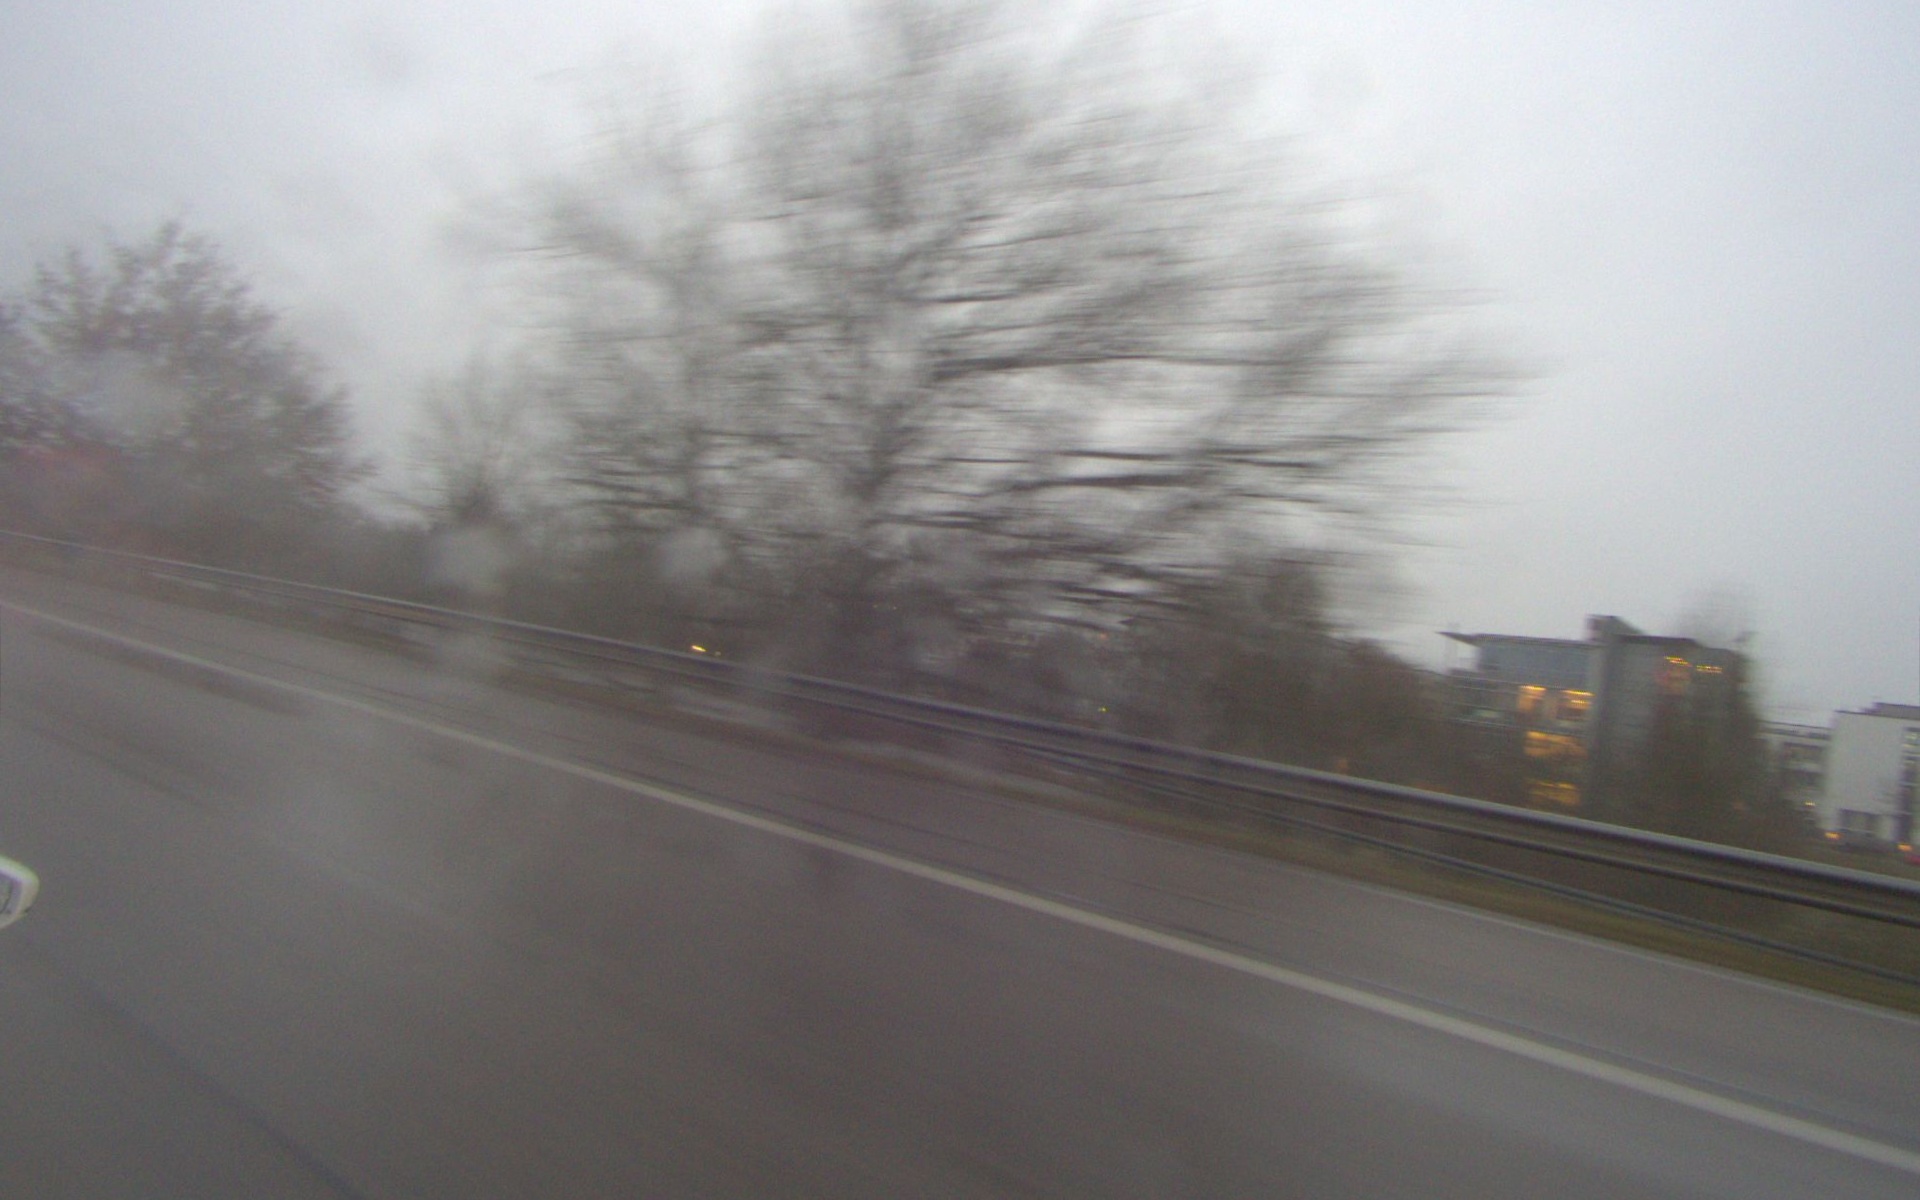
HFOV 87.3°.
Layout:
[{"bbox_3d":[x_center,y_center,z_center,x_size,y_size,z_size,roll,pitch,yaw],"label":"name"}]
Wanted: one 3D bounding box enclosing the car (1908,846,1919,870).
[{"bbox_3d":[95.147,25.468,97.838,3.939,2.037,1.995,7,-2,37],"label":"car"}]
